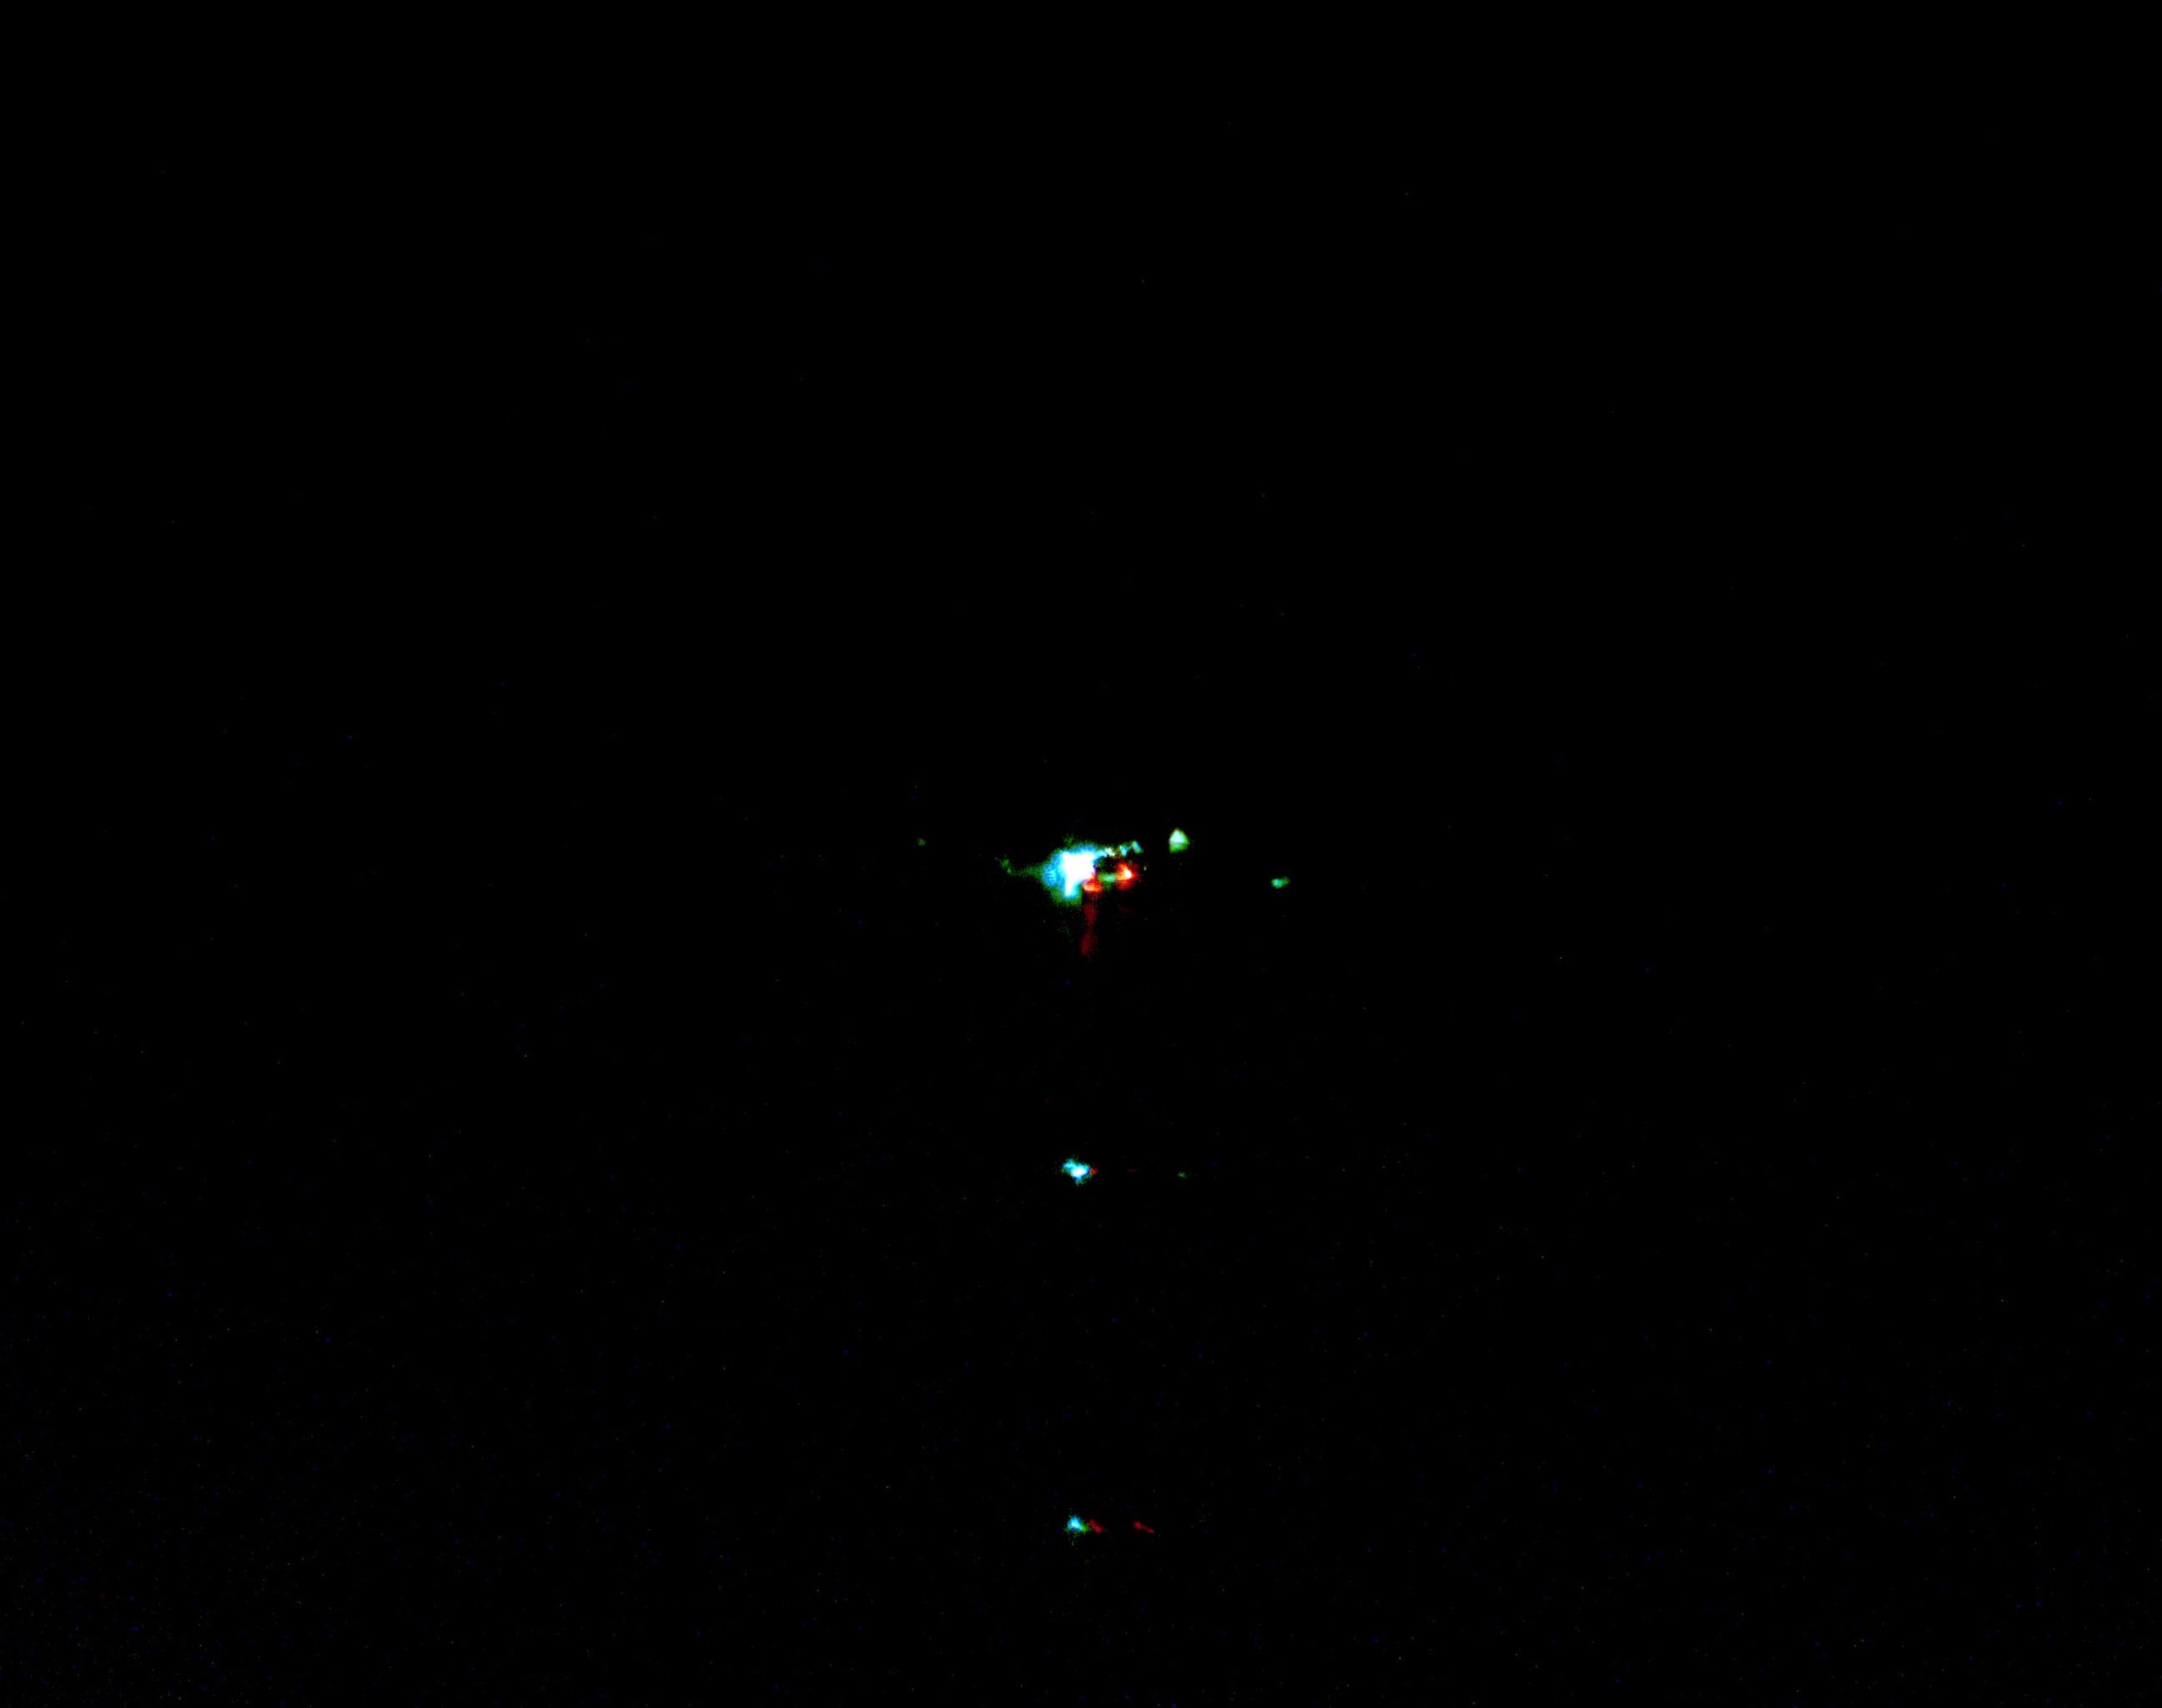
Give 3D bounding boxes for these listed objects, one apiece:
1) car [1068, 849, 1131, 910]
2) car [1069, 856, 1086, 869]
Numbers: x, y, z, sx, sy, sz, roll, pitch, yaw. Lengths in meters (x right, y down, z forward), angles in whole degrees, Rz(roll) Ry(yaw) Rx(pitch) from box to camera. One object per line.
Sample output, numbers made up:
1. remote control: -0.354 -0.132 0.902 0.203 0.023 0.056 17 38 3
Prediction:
1. car: 0.639 0.845 28.841 2.086 2.013 4.001 0 0 1
2. car: -0.437 1.001 94.851 1.743 1.426 3.681 -2 0 -3
